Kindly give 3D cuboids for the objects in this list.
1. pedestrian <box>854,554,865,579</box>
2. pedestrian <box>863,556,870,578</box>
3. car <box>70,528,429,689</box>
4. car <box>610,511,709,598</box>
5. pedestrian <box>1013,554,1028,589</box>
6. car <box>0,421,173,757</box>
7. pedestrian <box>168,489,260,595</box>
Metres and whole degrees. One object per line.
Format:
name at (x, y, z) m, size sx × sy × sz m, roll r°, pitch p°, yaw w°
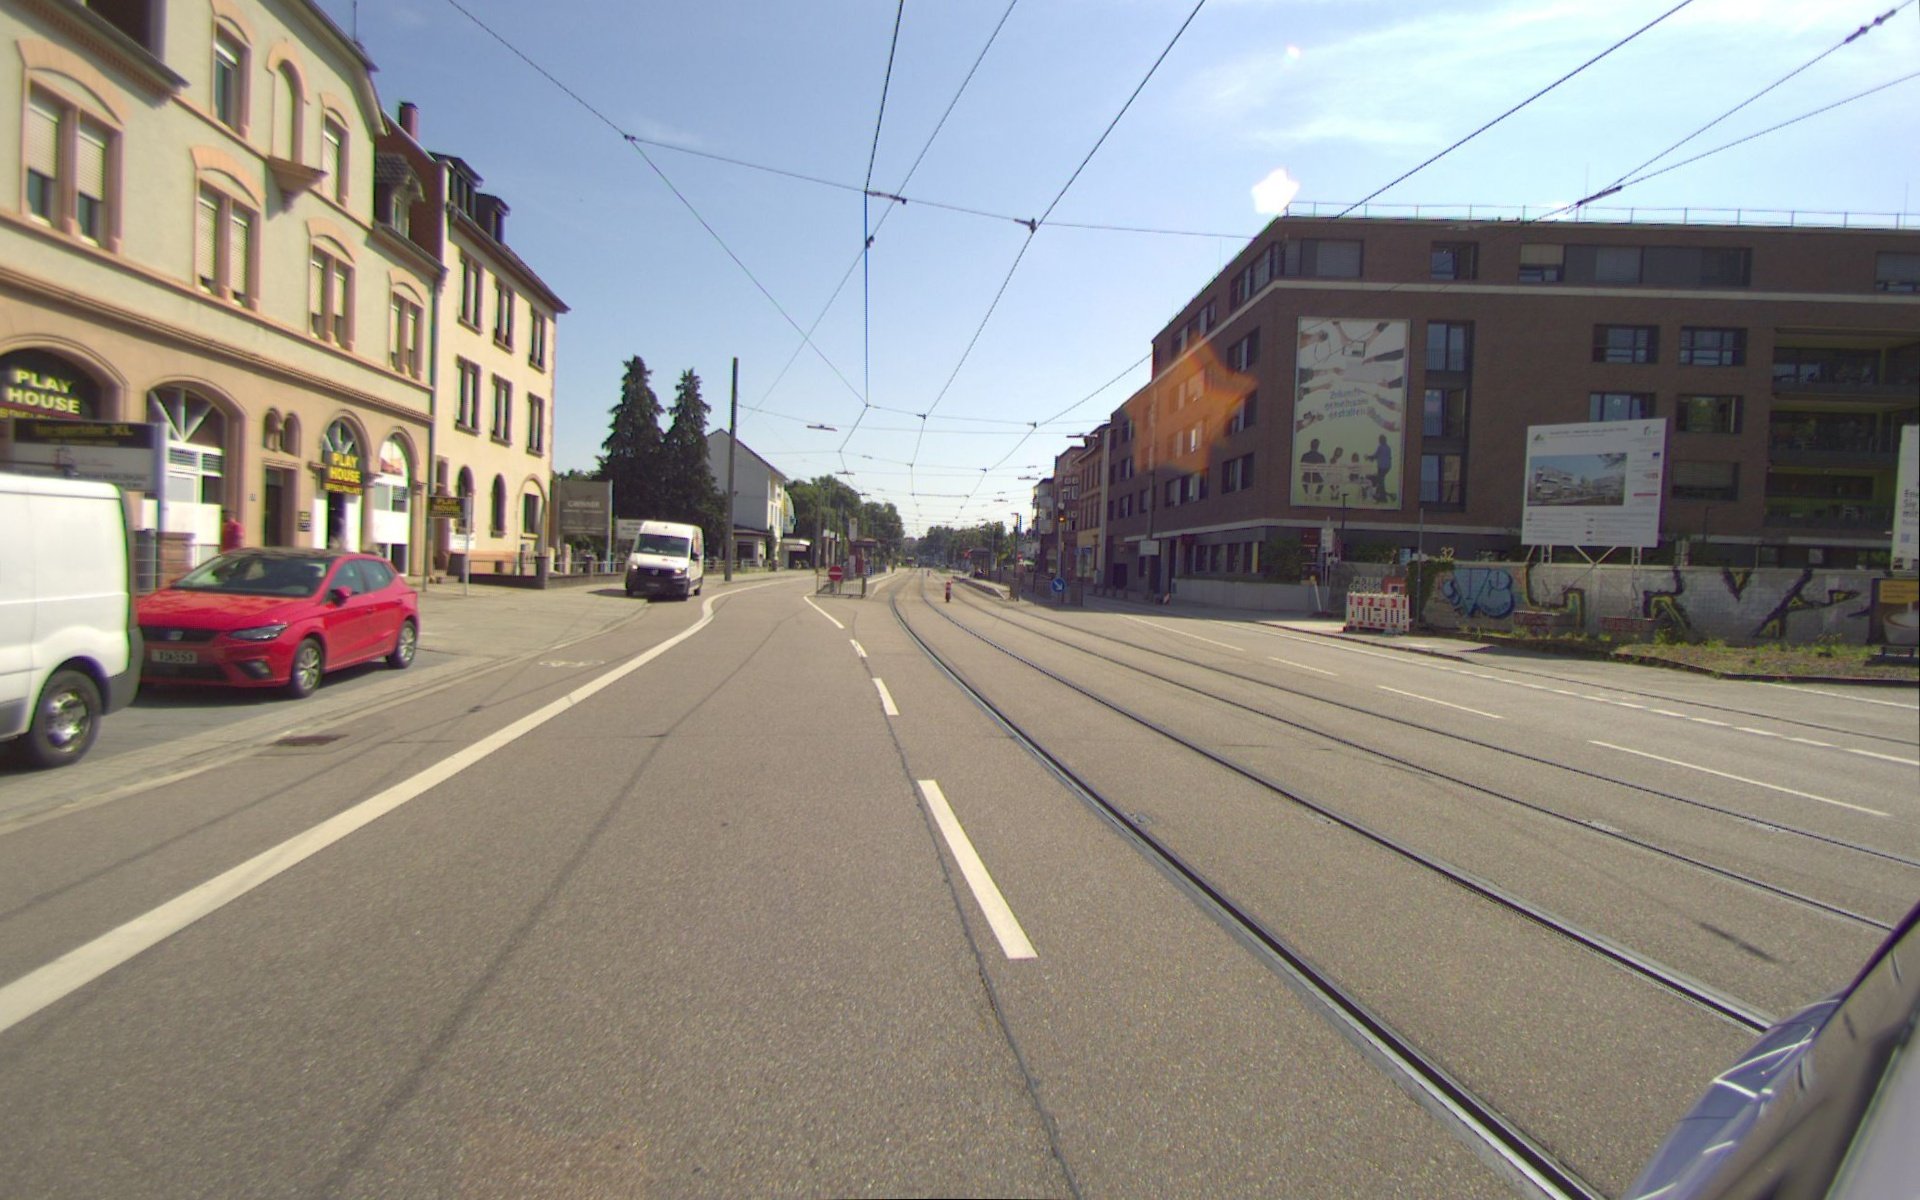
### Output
pedestrian at (-6.868, -2.282, 69.027) m, size 0.693 × 1.710 × 0.417 m, roll 2°, pitch 1°, yaw -10°
pedestrian at (-7.388, -2.571, 79.904) m, size 0.407 × 1.710 × 0.709 m, roll 2°, pitch 1°, yaw -17°
car at (-7.536, 0.014, 11.269) m, size 1.690 × 1.423 × 4.009 m, roll 2°, pitch 2°, yaw -10°
car at (-10.261, -1.553, 35.114) m, size 2.289 × 2.566 × 6.519 m, roll 4°, pitch 2°, yaw -9°
pedestrian at (3.138, -1.468, 52.382) m, size 0.546 × 1.781 × 0.795 m, roll 2°, pitch 2°, yaw -9°
car at (-6.701, -0.075, 5.169) m, size 2.048 × 2.038 × 4.917 m, roll 3°, pitch 2°, yaw -9°
pedestrian at (-13.555, -1.044, 18.405) m, size 0.941 × 1.837 × 1.114 m, roll 4°, pitch 2°, yaw 38°
